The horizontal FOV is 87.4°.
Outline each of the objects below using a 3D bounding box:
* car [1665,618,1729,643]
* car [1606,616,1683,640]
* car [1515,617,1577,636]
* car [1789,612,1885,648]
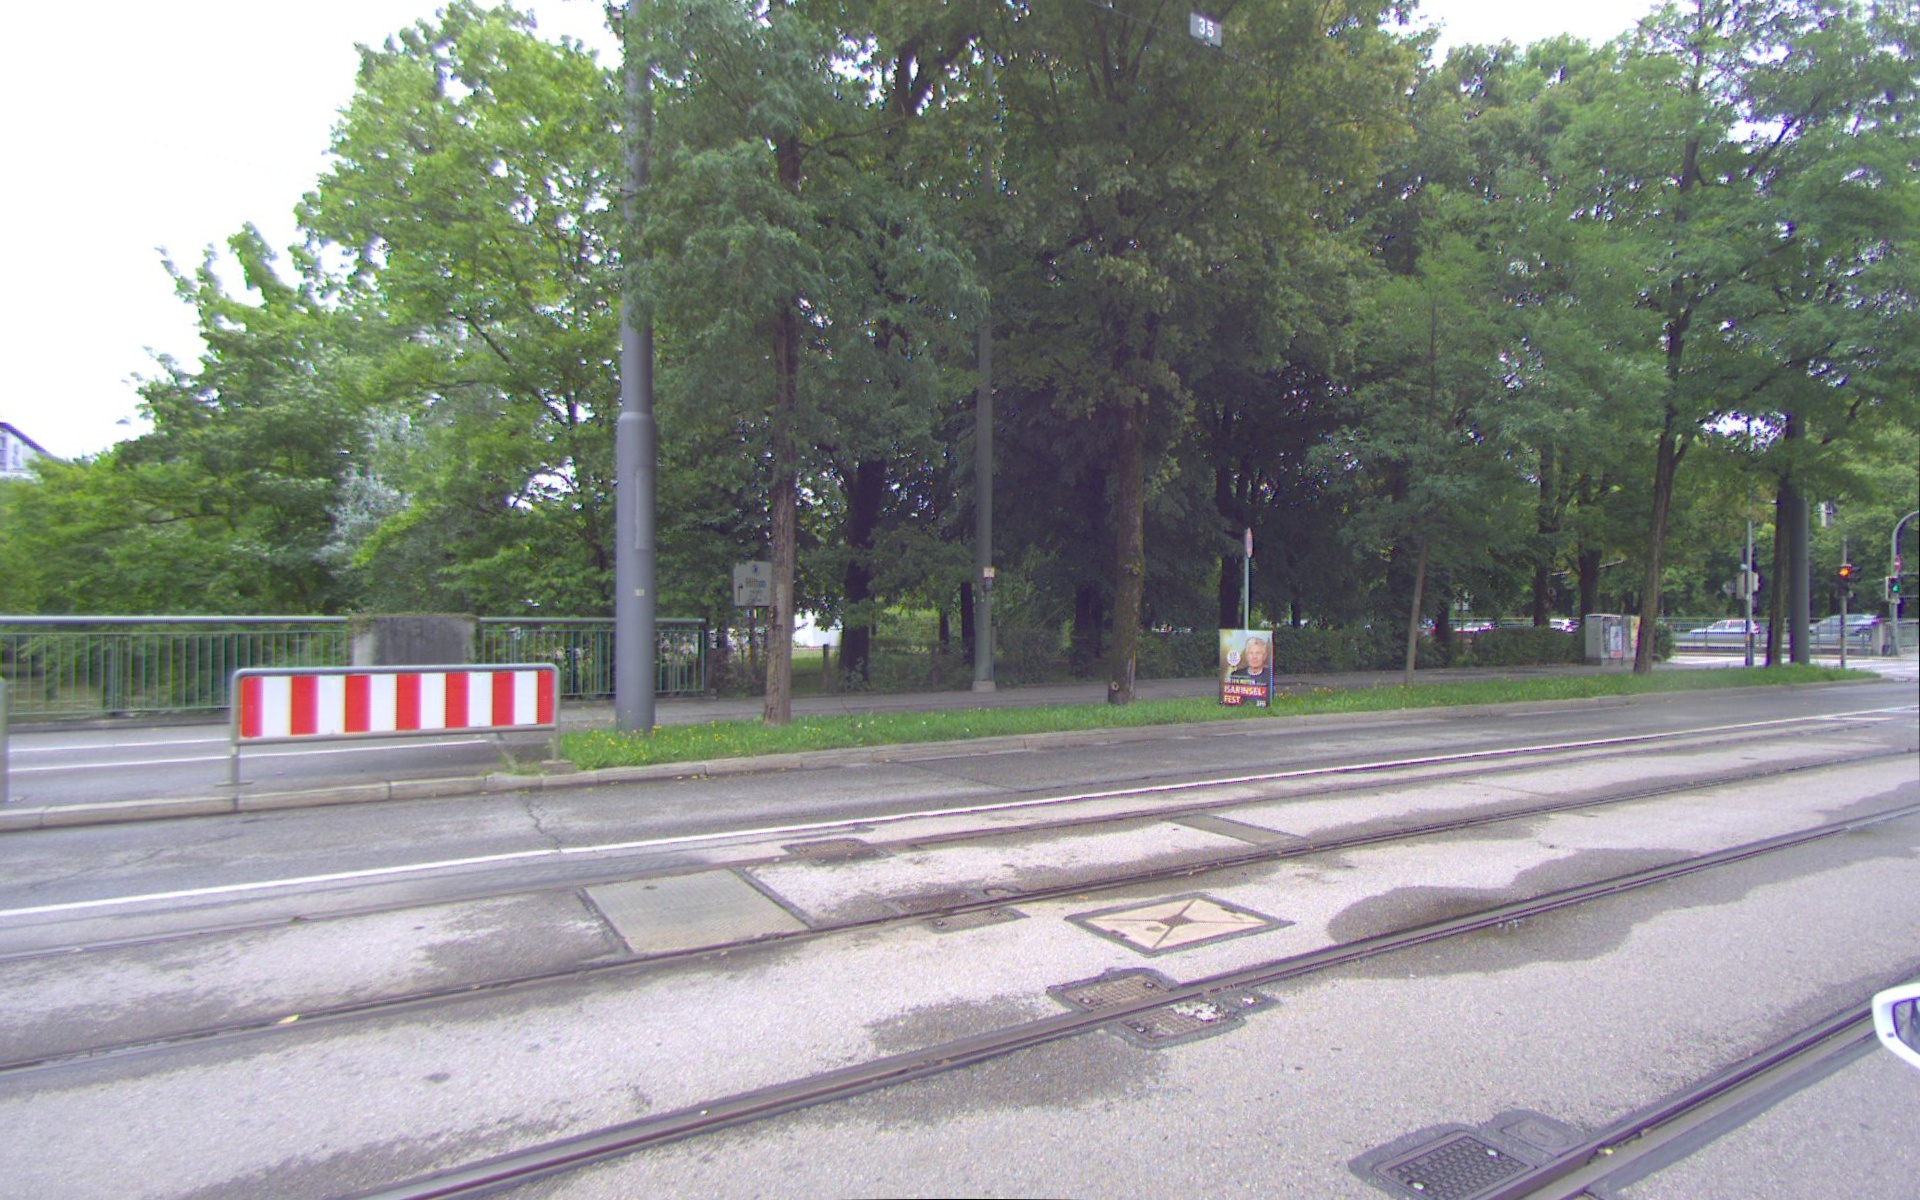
[{"bbox_3d":[47.645,1.929,64.980,1.238,1.471,3.090,1,1,-34],"label":"car"},{"bbox_3d":[46.019,1.878,67.579,1.703,1.423,3.900,1,0,-34],"label":"car"},{"bbox_3d":[42.554,1.895,73.014,1.238,1.201,3.704,1,1,-34],"label":"car"},{"bbox_3d":[51.656,1.745,59.233,1.476,1.912,3.994,1,1,-36],"label":"car"}]
